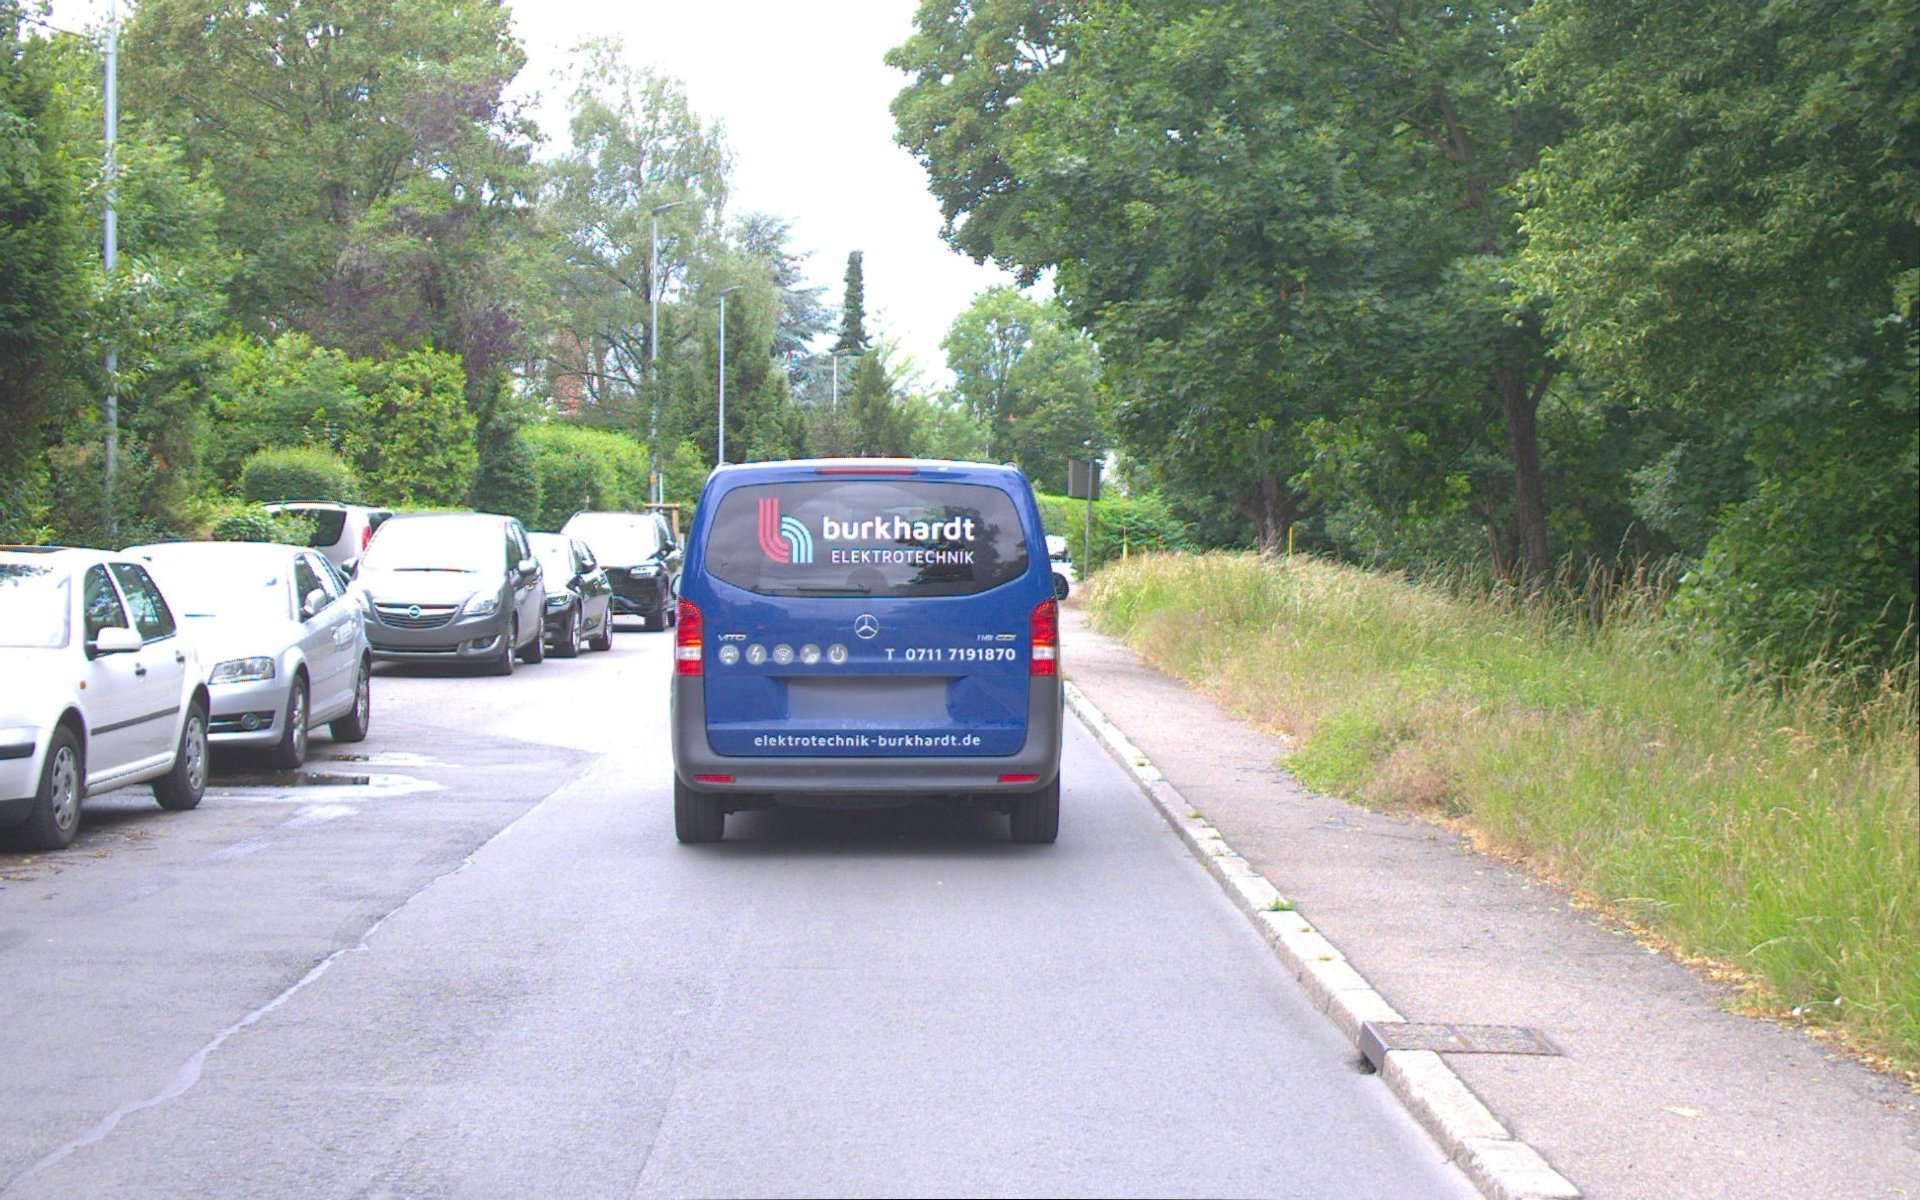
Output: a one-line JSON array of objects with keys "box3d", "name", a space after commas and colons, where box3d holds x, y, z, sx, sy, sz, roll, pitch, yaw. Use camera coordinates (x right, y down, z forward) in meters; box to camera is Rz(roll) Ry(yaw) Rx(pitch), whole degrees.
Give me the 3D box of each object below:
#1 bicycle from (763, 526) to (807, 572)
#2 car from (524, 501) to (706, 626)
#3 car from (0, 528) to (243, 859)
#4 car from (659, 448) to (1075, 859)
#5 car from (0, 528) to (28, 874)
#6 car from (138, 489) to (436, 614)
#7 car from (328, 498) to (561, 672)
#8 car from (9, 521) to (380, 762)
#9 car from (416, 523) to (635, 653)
[{"box3d": [-5.080, -1.485, 100.058, 0.906, 1.247, 2.916, 3, 1, 3], "name": "bicycle"}, {"box3d": [-5.118, -0.572, 51.671, 1.974, 1.731, 5.189, 2, 1, 2], "name": "car"}, {"box3d": [-4.955, 0.373, 17.498, 1.659, 1.447, 4.382, 0, 2, 1], "name": "car"}, {"box3d": [-0.541, 0.156, 17.664, 1.888, 1.837, 4.001, 0, 3, -4], "name": "car"}, {"box3d": [-4.859, 0.455, 12.778, 1.623, 1.445, 3.969, 0, 1, 1], "name": "car"}, {"box3d": [-9.543, -0.695, 48.818, 3.694, 1.632, 1.827, 2, 1, 13], "name": "car"}, {"box3d": [-5.242, -0.198, 35.500, 1.731, 1.626, 4.569, 2, 1, -1], "name": "car"}, {"box3d": [-5.013, 0.206, 23.012, 1.623, 1.445, 4.094, 1, 1, -1], "name": "car"}, {"box3d": [-5.097, -0.182, 40.951, 1.754, 1.408, 4.898, 2, 1, 2], "name": "car"}]
